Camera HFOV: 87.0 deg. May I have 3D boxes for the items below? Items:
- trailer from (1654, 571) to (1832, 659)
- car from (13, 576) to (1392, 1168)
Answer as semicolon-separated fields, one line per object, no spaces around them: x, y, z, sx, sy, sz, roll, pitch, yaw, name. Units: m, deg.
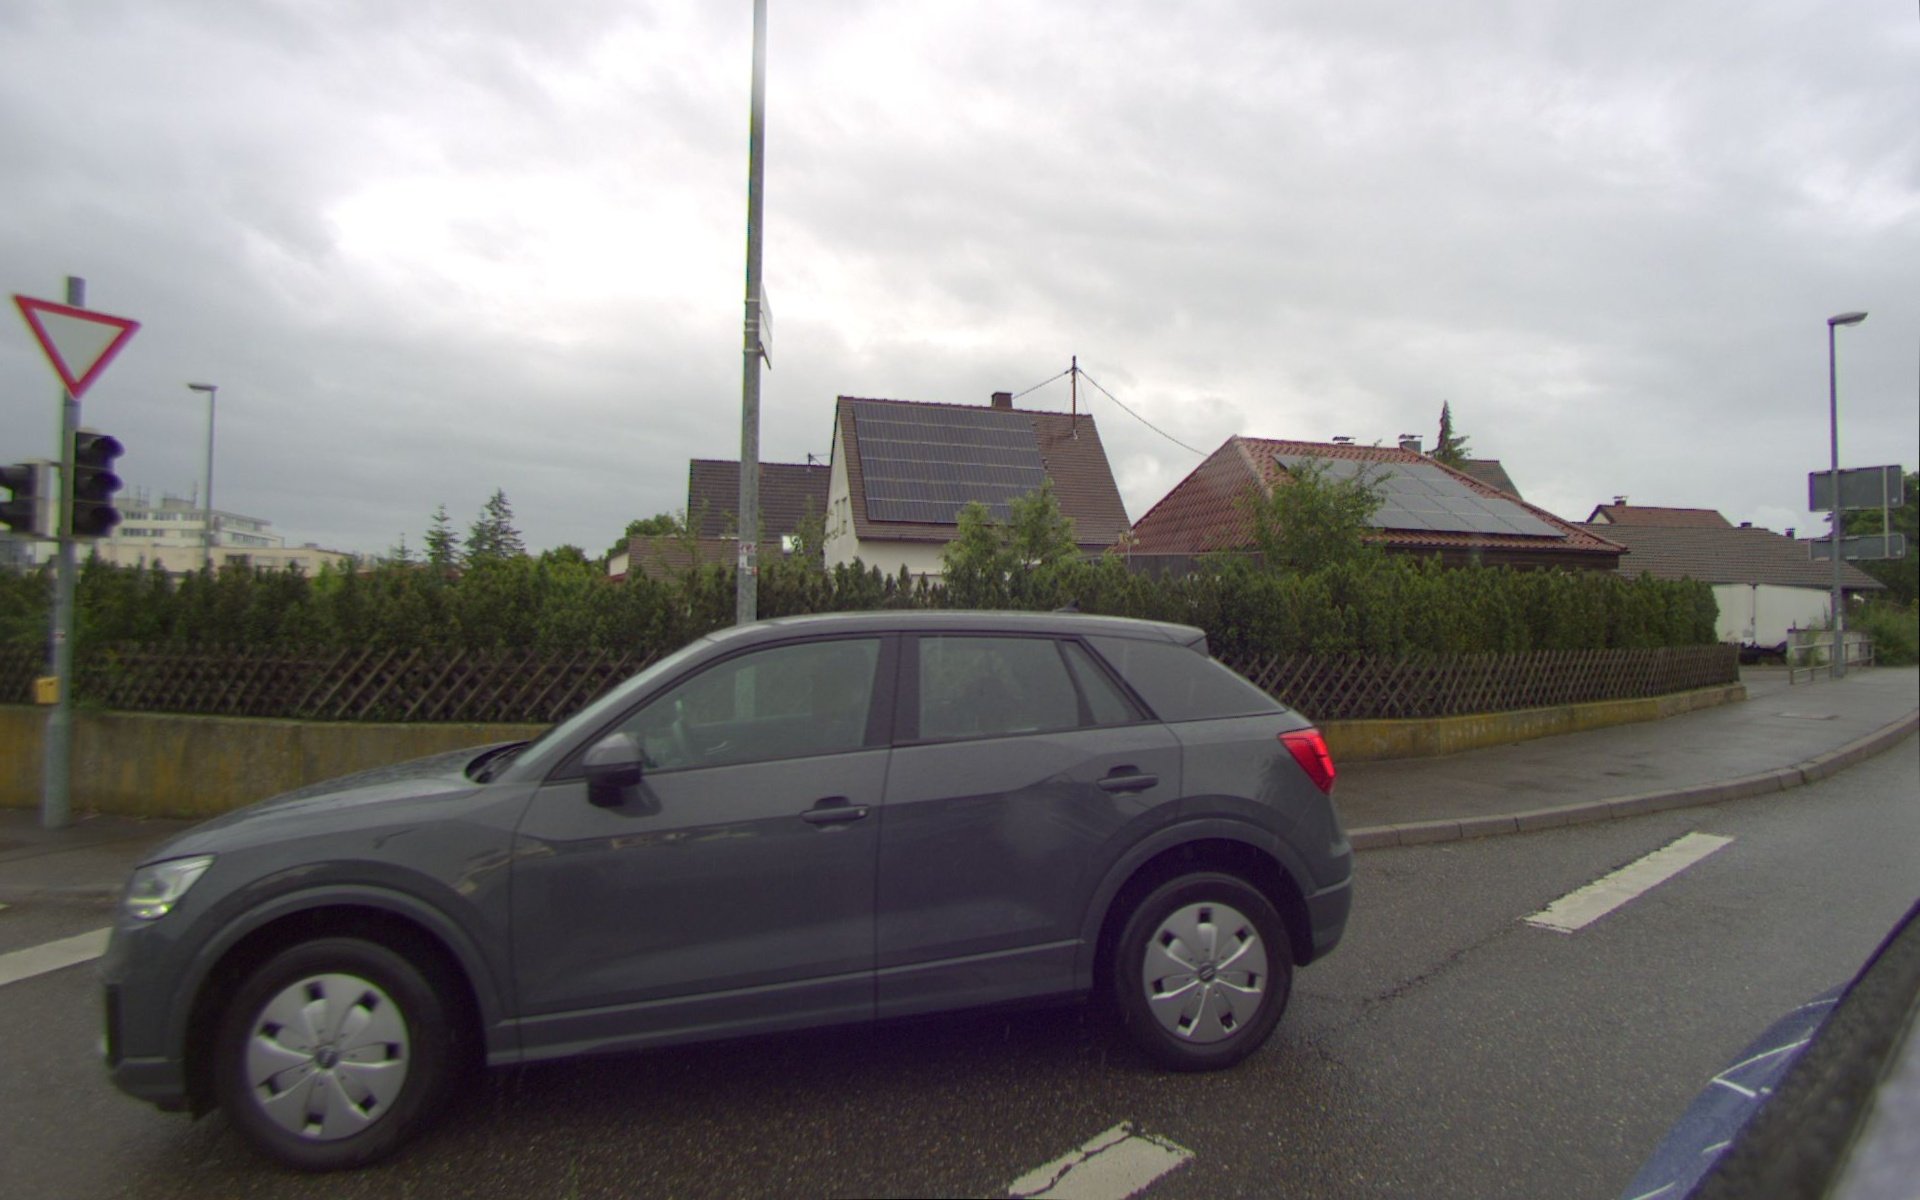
23.750;0.458;30.739;4.605;2.550;1.652;0;-2;-13;trailer
-0.668;0.700;3.759;3.858;1.514;1.691;0;-1;-10;car
